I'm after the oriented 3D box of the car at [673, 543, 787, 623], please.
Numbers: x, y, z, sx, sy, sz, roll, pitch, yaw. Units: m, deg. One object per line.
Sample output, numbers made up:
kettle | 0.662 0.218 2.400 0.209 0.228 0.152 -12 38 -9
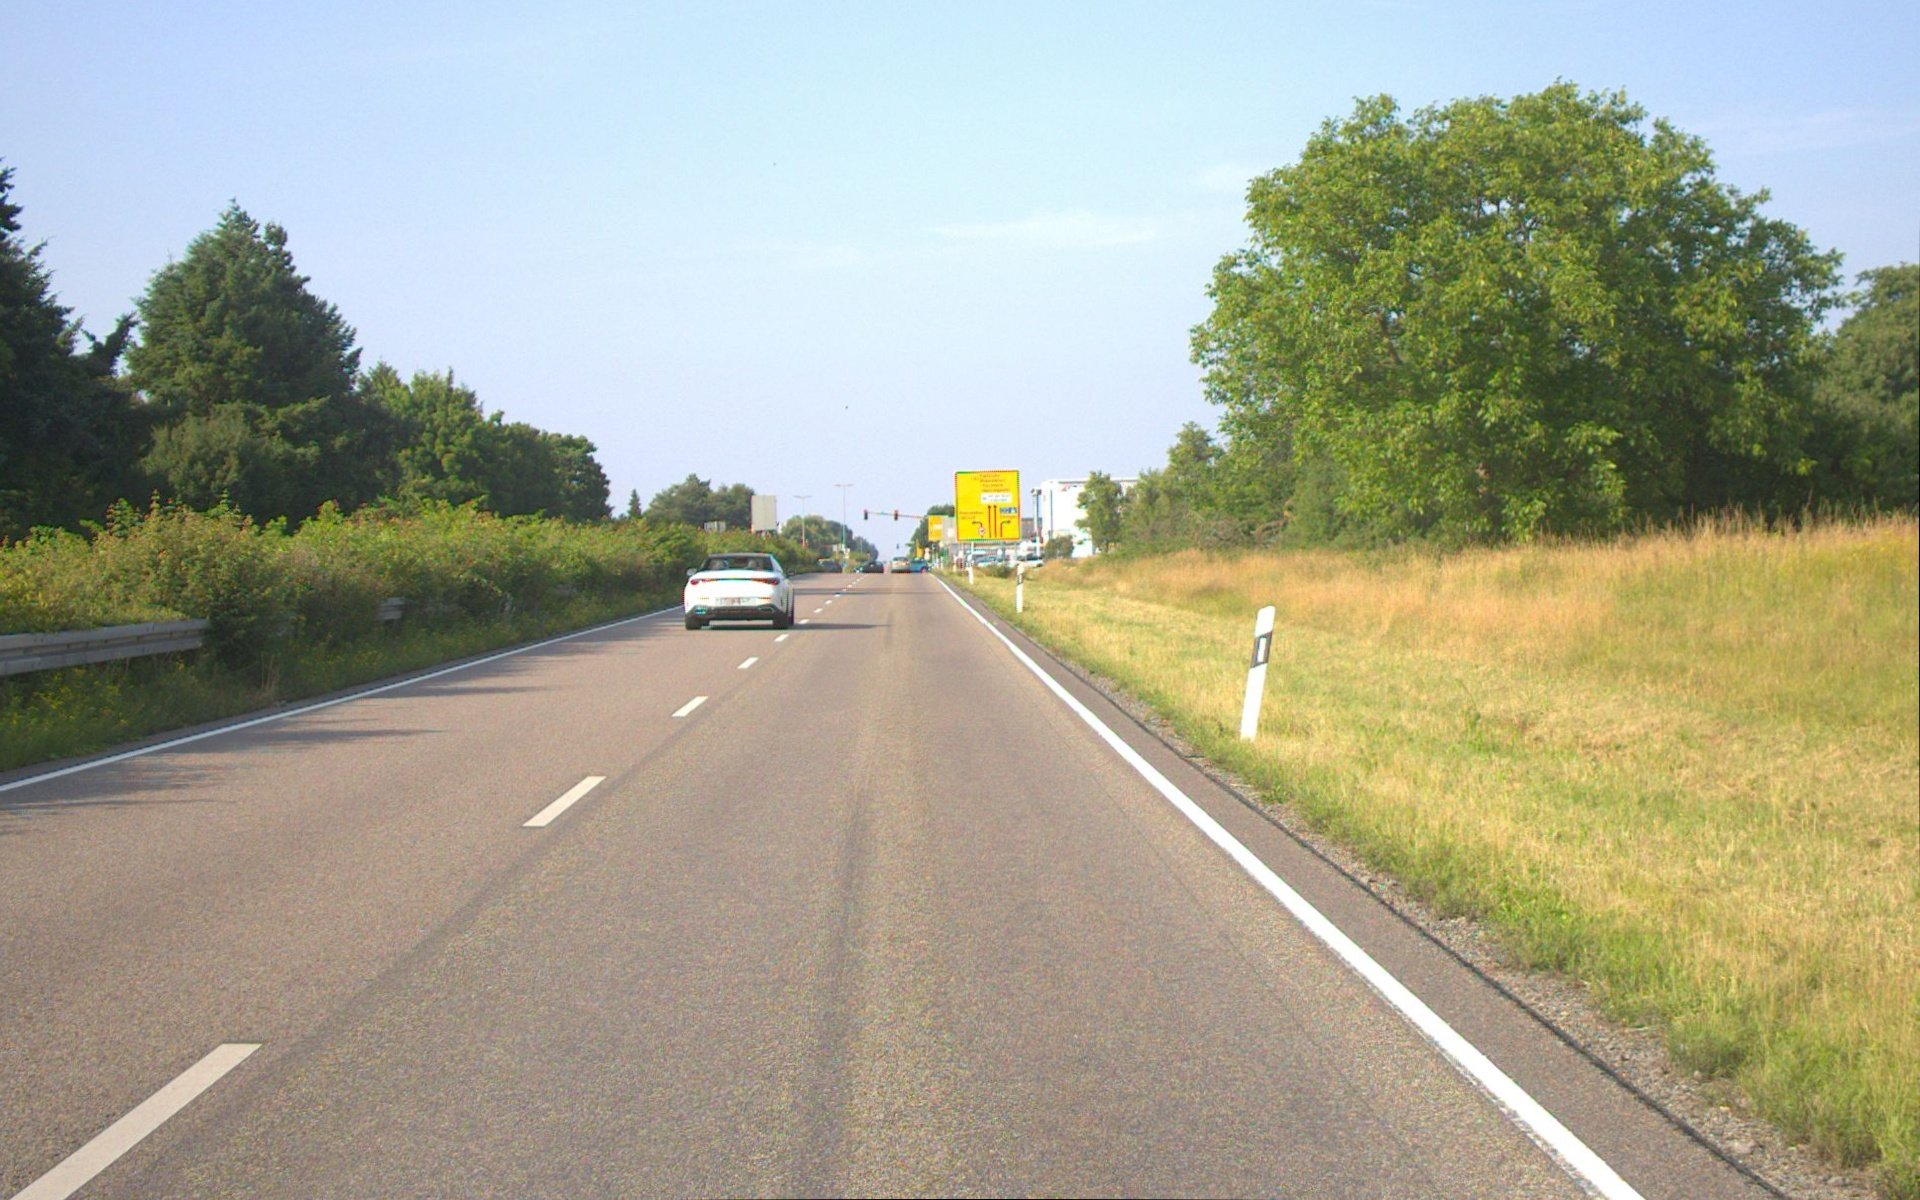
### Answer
car | -4.176 -0.330 62.899 1.909 1.417 4.000 0 1 -2
